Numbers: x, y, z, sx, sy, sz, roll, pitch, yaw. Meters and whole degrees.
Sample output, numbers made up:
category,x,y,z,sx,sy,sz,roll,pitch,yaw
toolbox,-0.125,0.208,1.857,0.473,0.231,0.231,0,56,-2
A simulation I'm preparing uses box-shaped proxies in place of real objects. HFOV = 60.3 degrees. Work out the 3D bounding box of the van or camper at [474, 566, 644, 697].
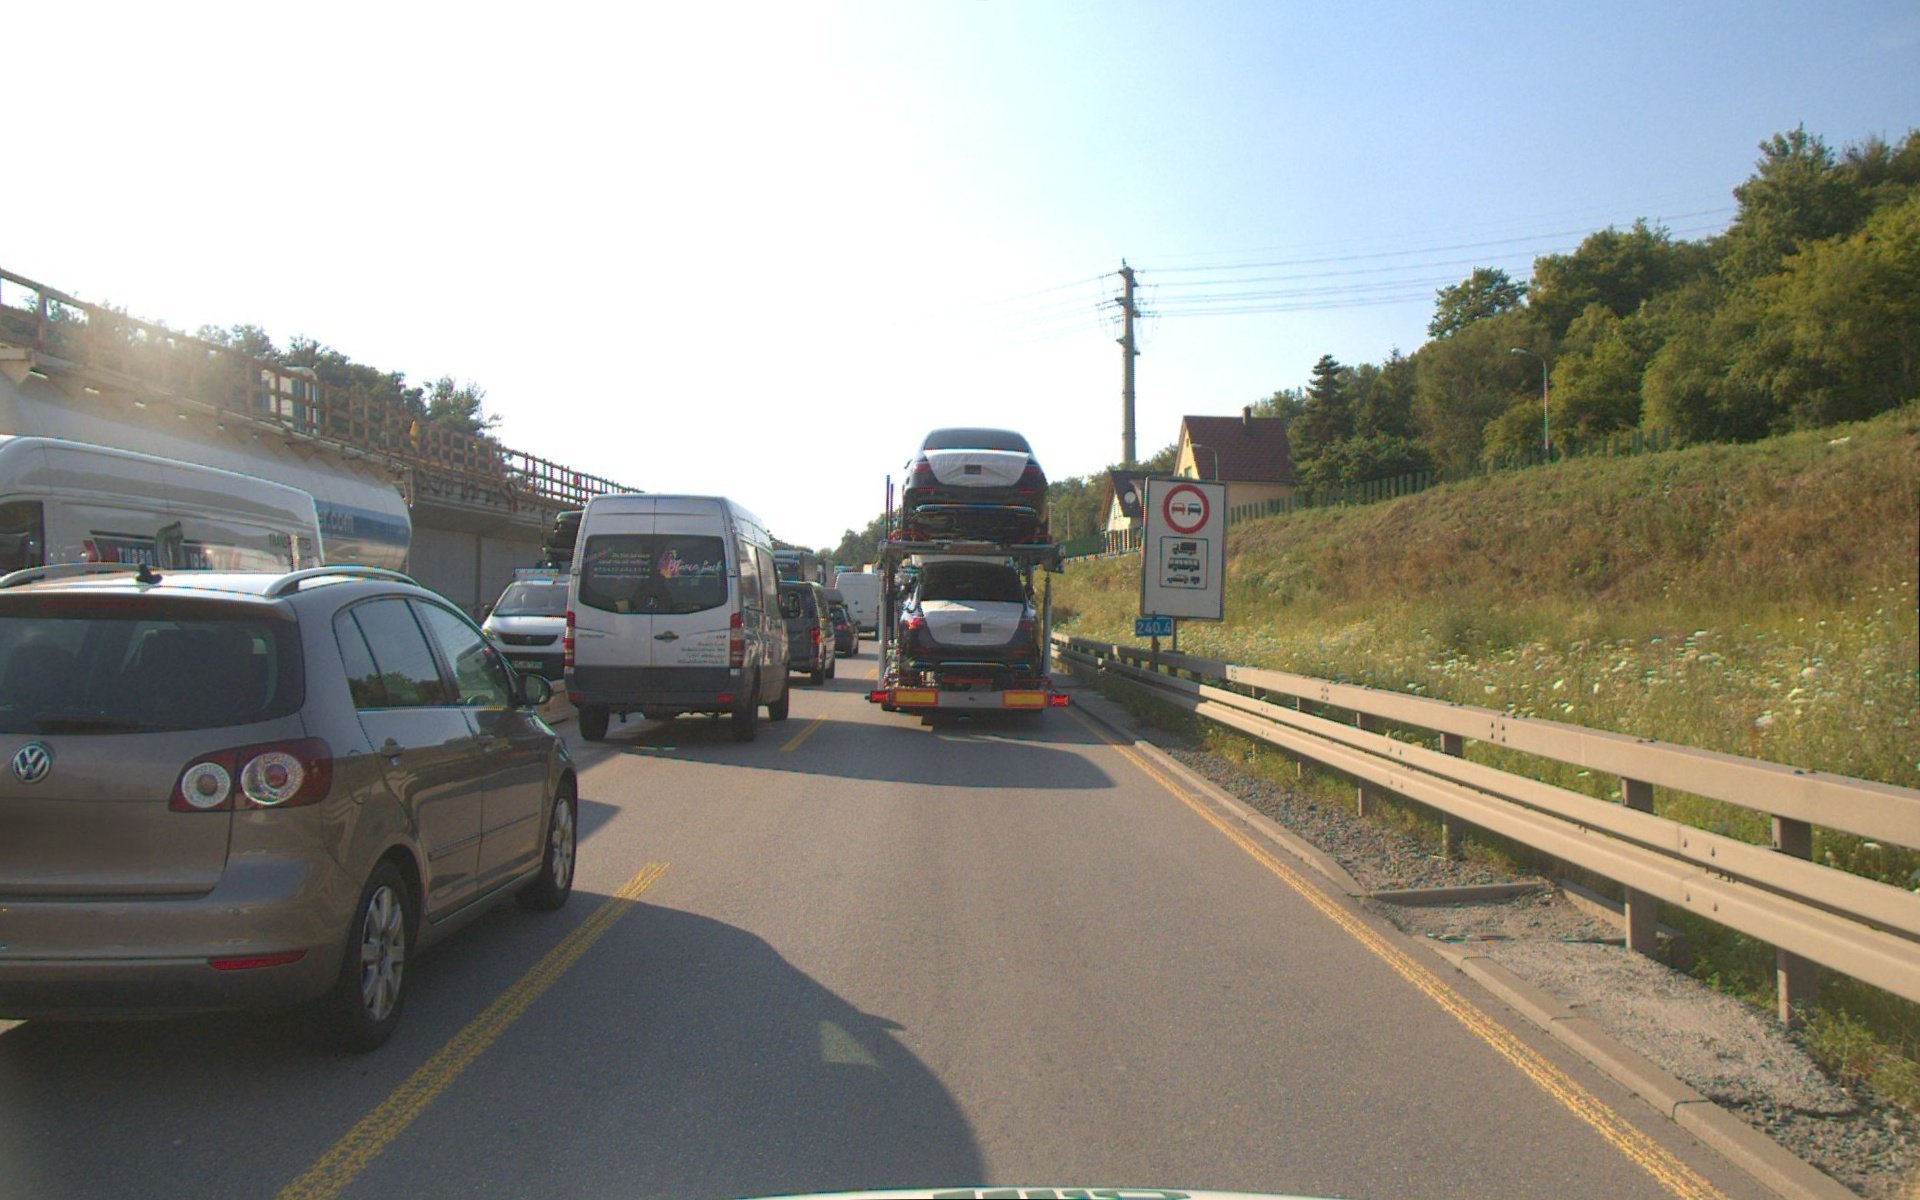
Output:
category,x,y,z,sx,sy,sz,roll,pitch,yaw
van or camper,-6.897,0.523,29.002,1.821,2.049,5.293,1,0,-2

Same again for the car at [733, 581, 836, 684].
category,x,y,z,sx,sy,sz,roll,pitch,yaw
car,-3.488,0.648,33.550,1.772,1.937,3.998,1,-1,-2

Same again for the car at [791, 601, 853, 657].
category,x,y,z,sx,sy,sz,roll,pitch,yaw
car,-4.151,0.838,50.268,1.691,1.549,3.971,1,1,-2

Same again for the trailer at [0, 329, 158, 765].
category,x,y,z,sx,sy,sz,roll,pitch,yaw
trailer,-9.920,-0.499,14.550,2.598,3.918,6.427,1,0,-1

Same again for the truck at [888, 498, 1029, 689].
category,x,y,z,sx,sy,sz,roll,pitch,yaw
truck,-0.068,-0.115,35.207,2.628,3.596,7.192,1,0,-1

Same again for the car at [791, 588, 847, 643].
category,x,y,z,sx,sy,sz,roll,pitch,yaw
car,-6.726,0.719,79.104,2.422,2.578,3.999,0,0,-2

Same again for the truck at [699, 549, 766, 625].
category,x,y,z,sx,sy,sz,roll,pitch,yaw
truck,-10.909,-0.568,79.599,2.497,3.469,5.530,1,-1,-1

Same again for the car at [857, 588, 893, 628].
category,x,y,z,sx,sy,sz,roll,pitch,yaw
car,-4.686,0.423,91.783,1.847,2.136,3.764,1,0,-2

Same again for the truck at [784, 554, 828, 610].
category,x,y,z,sx,sy,sz,roll,pitch,yaw
truck,-11.470,-1.286,123.600,2.802,4.078,5.656,1,-1,-1

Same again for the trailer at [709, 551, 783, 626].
category,x,y,z,sx,sy,sz,roll,pitch,yaw
trailer,-10.970,-0.524,85.768,2.505,3.588,10.679,1,0,-1

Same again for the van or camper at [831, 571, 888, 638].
category,x,y,z,sx,sy,sz,roll,pitch,yaw
van or camper,-4.080,0.200,68.007,1.928,2.637,5.042,1,0,1

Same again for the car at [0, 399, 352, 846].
category,x,y,z,sx,sy,sz,roll,pitch,yaw
car,-6.748,0.134,12.033,1.953,2.668,7.408,1,0,-1

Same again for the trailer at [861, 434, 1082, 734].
category,x,y,z,sx,sy,sz,roll,pitch,yaw
trailer,0.042,-0.166,27.769,2.628,3.596,15.285,1,0,-1

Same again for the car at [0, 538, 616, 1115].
category,x,y,z,sx,sy,sz,roll,pitch,yaw
car,-2.649,0.665,6.787,1.646,1.616,4.270,0,-1,-1

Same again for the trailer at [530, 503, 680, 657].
category,x,y,z,sx,sy,sz,roll,pitch,yaw
trailer,-10.160,-0.508,48.110,2.714,4.101,7.207,1,0,0

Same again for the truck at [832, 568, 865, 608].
category,x,y,z,sx,sy,sz,roll,pitch,yaw
truck,-10.250,-1.033,152.703,2.660,3.484,8.137,-2,0,-2

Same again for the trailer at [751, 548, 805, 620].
category,x,y,z,sx,sy,sz,roll,pitch,yaw
trailer,-11.147,-1.008,101.920,2.708,4.213,5.975,1,1,-1

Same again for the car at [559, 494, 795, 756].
category,x,y,z,sx,sy,sz,roll,pitch,yaw
car,-3.195,0.227,19.820,1.953,2.694,5.529,0,1,-1

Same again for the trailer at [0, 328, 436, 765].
category,x,y,z,sx,sy,sz,roll,pitch,yaw
trailer,-10.044,-0.455,21.116,2.598,3.918,13.439,1,0,-1
